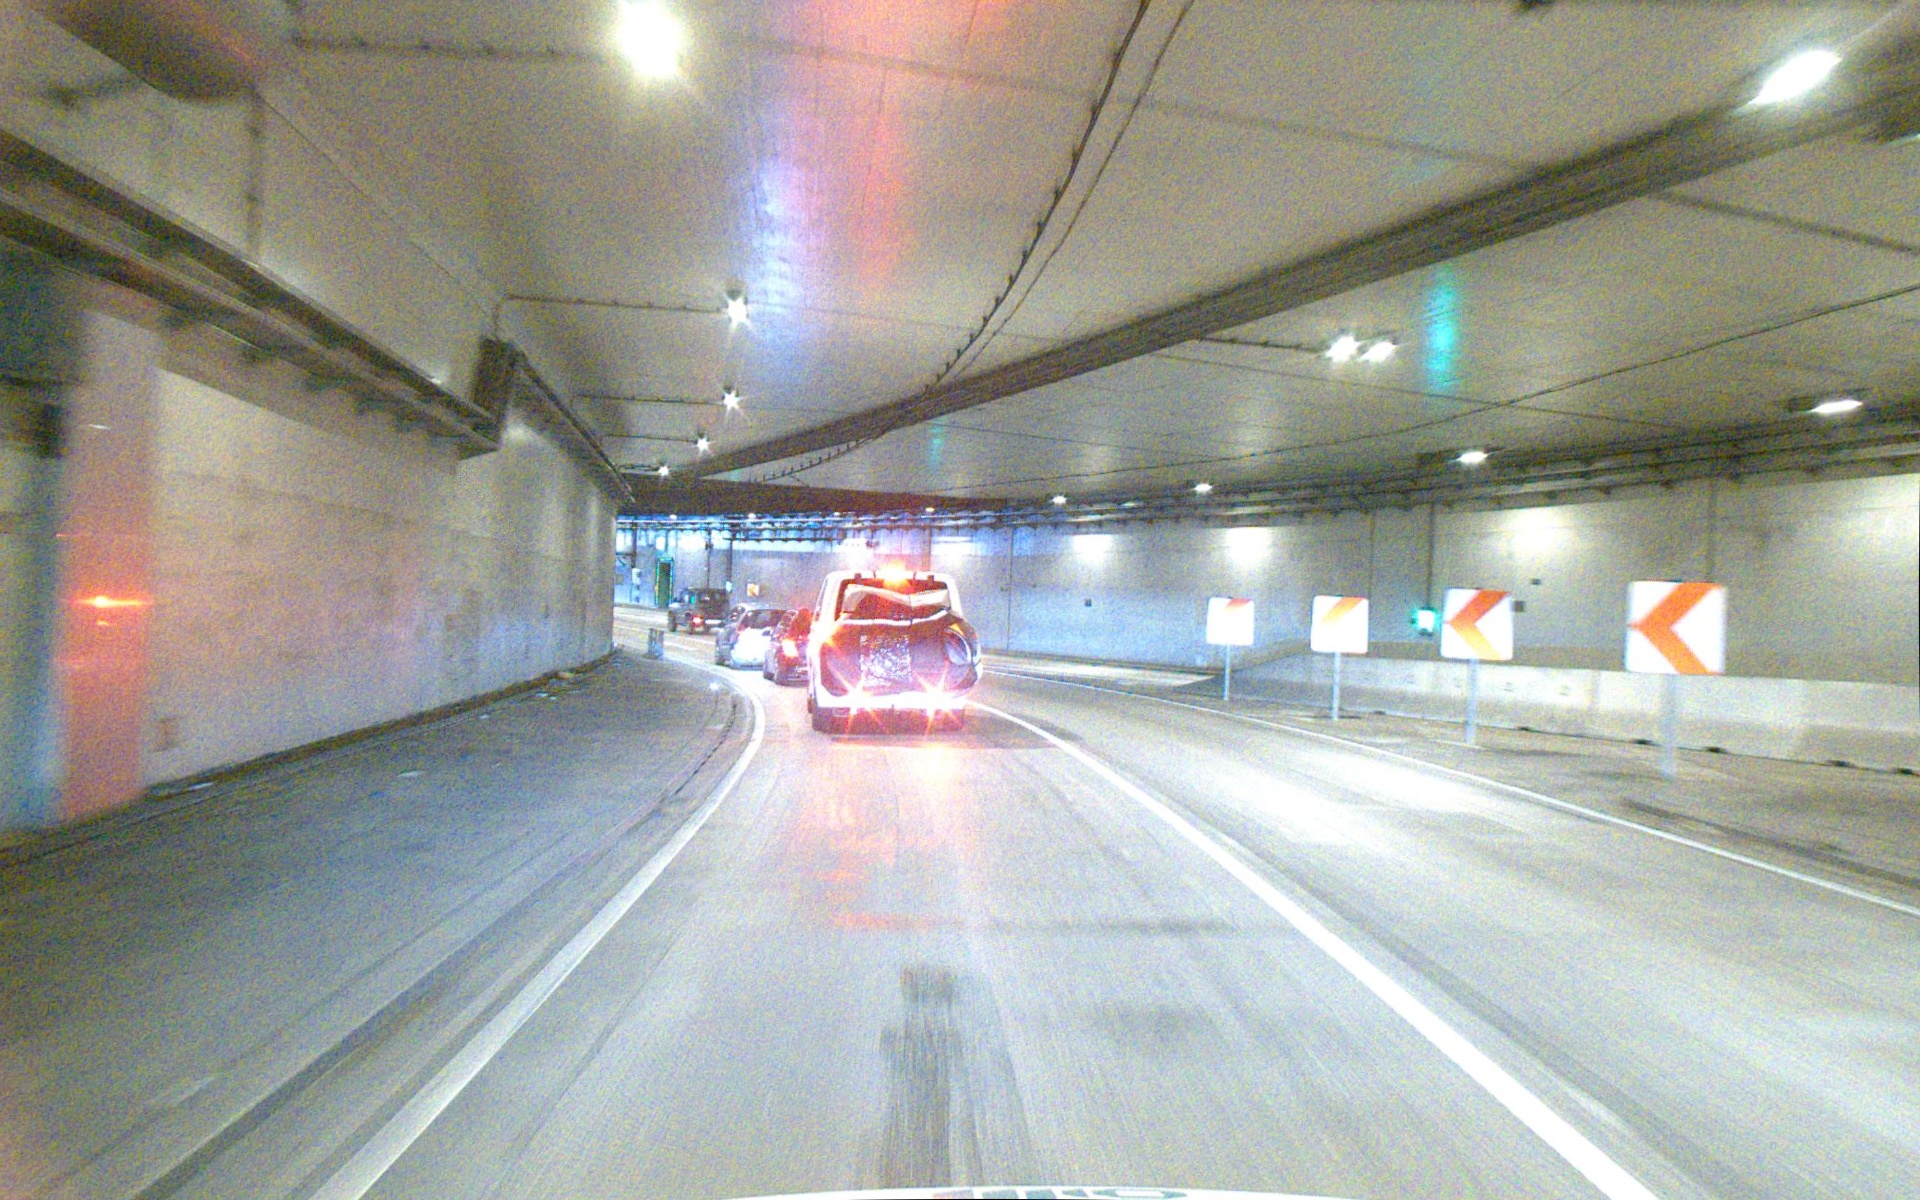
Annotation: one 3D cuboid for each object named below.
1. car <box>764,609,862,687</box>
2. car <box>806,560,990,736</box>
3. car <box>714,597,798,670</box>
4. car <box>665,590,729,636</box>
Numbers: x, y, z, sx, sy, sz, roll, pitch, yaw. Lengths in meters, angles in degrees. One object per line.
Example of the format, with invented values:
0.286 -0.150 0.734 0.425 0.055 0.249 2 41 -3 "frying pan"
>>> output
-2.942 0.908 32.538 1.574 1.420 3.268 2 -1 -11 "car"
-0.914 0.560 20.630 1.955 1.880 5.294 1 -1 -6 "car"
-5.025 0.823 40.452 1.576 1.622 3.343 3 -2 -14 "car"
-9.884 0.464 61.985 1.581 1.658 3.331 -1 1 -23 "car"
